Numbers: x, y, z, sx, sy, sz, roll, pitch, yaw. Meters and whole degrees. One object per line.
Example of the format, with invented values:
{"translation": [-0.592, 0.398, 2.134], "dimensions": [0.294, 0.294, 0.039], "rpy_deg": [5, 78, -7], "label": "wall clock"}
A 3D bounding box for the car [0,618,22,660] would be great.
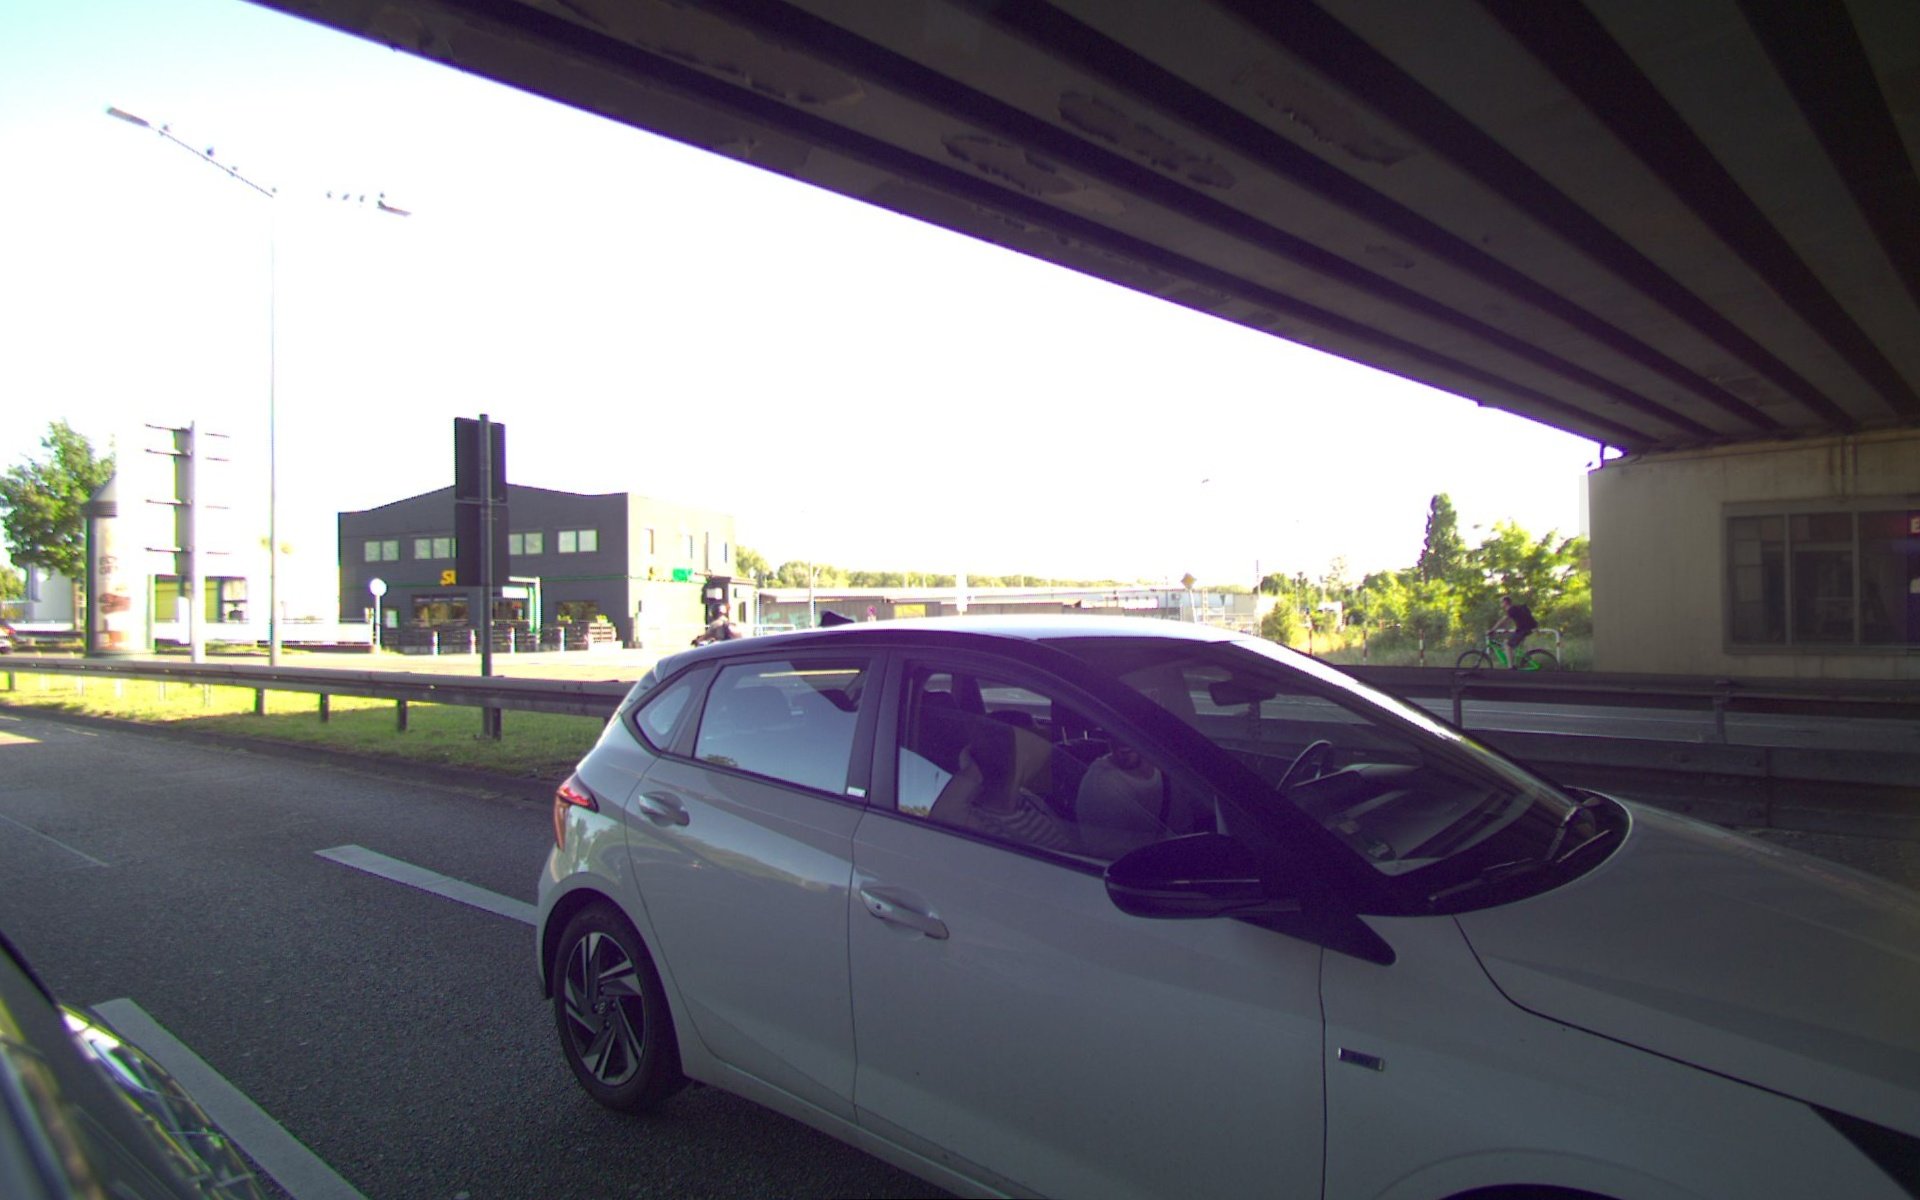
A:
{"translation": [-40.412, 1.597, 41.007], "dimensions": [4.333, 1.629, 1.844], "rpy_deg": [-1, 0, 21], "label": "car"}

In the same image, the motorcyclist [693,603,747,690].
{"translation": [-4.401, 0.840, 18.564], "dimensions": [0.697, 1.539, 0.689], "rpy_deg": [-2, -2, 40], "label": "motorcyclist"}

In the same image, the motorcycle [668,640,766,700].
{"translation": [-4.488, 1.264, 18.624], "dimensions": [2.007, 1.035, 0.686], "rpy_deg": [-2, -2, 40], "label": "motorcycle"}

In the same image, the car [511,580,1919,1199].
{"translation": [0.570, 0.699, 2.674], "dimensions": [3.869, 1.414, 1.714], "rpy_deg": [-1, 0, 41], "label": "car"}

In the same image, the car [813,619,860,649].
{"translation": [-6.689, 1.827, 55.080], "dimensions": [1.858, 1.453, 3.996], "rpy_deg": [-1, 0, 3], "label": "car"}

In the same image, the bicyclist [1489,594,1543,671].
{"translation": [11.306, 0.648, 20.588], "dimensions": [0.836, 1.536, 0.621], "rpy_deg": [-1, 0, 41], "label": "bicyclist"}

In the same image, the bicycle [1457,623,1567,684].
{"translation": [11.242, 1.070, 20.649], "dimensions": [1.877, 1.174, 0.627], "rpy_deg": [-1, 0, 41], "label": "bicycle"}
